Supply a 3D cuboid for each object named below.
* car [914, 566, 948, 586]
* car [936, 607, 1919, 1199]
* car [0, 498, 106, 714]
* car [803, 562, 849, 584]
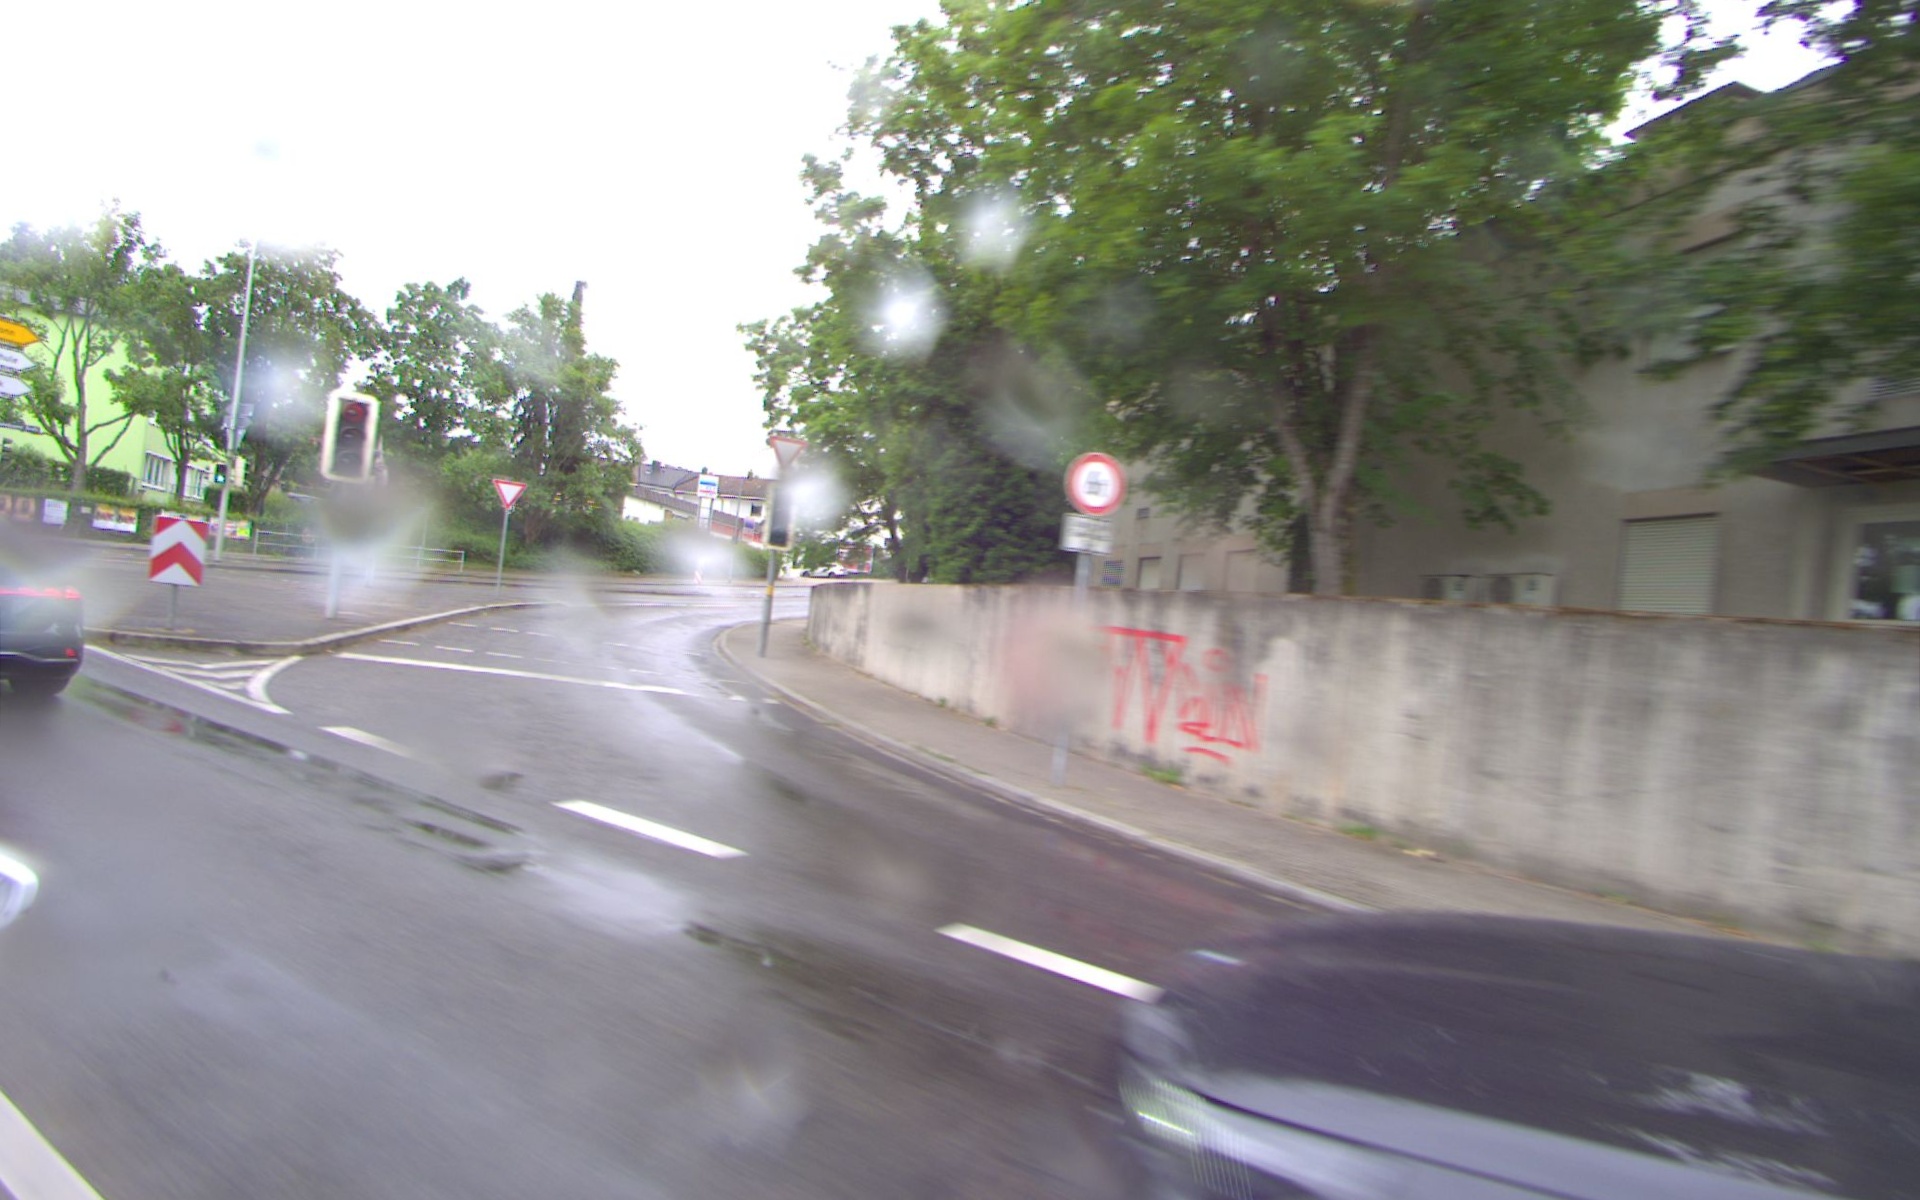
[{"bbox_3d":[-2.812,-2.326,97.955,1.963,1.528,3.994,12,5,16],"label":"car"},{"bbox_3d":[2.463,1.068,1.236,4.697,1.476,1.908,7,-1,31],"label":"car"},{"bbox_3d":[-8.532,-0.206,7.634,4.433,1.444,1.709,7,-1,31],"label":"car"},{"bbox_3d":[-12.277,-2.472,92.251,3.649,1.839,1.840,2,0,12],"label":"car"}]
